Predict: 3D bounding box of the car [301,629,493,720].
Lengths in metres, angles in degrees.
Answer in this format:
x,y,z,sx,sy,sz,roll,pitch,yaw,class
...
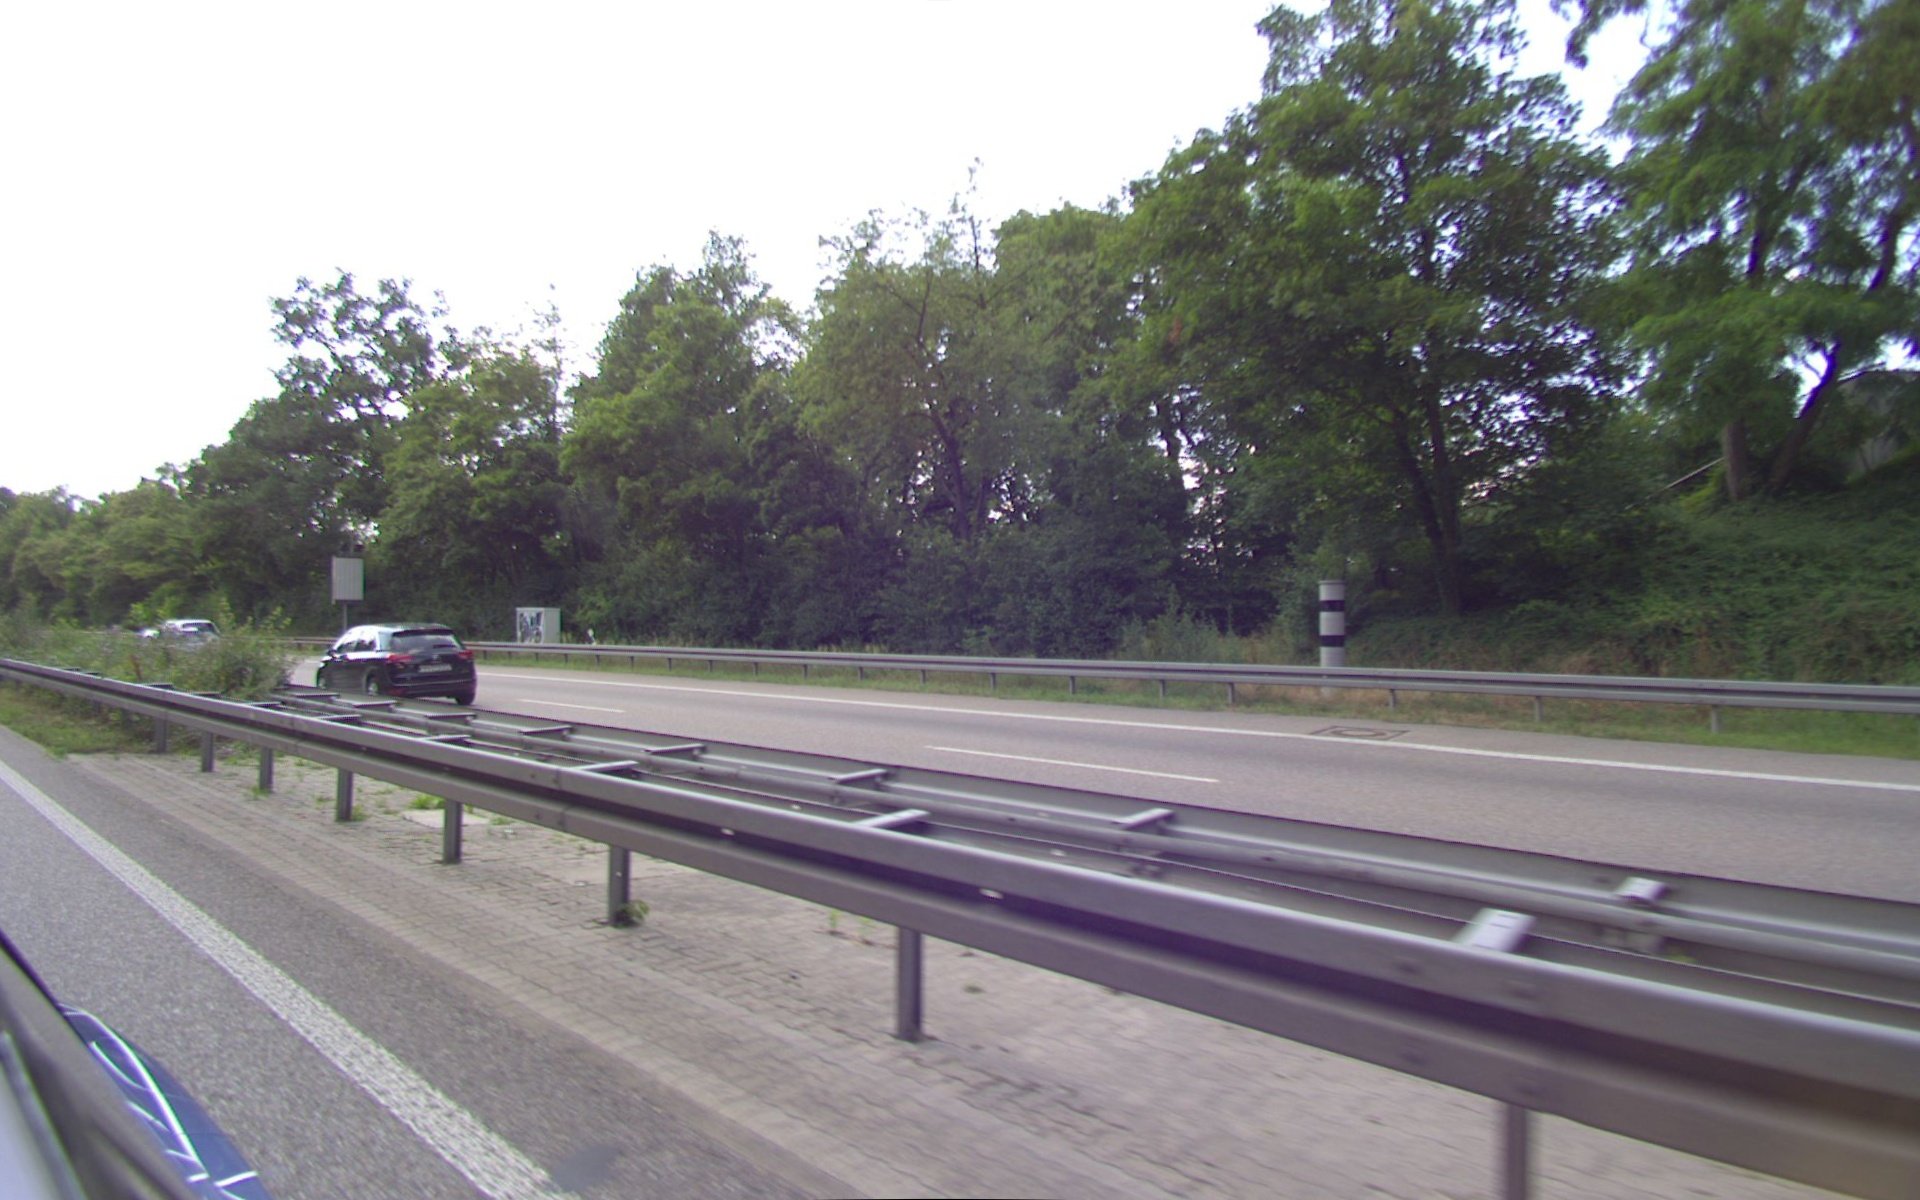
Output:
x,y,z,sx,sy,sz,roll,pitch,yaw,class
-11.182,1.378,19.956,4.562,1.601,1.846,-2,-2,41,car

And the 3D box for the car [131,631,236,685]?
x,y,z,sx,sy,sz,roll,pitch,yaw,class
-24.699,1.800,32.148,4.136,1.600,1.802,-2,-2,41,car

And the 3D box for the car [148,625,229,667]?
x,y,z,sx,sy,sz,roll,pitch,yaw,class
-34.014,1.984,44.579,4.876,1.752,1.768,-2,-2,40,car
